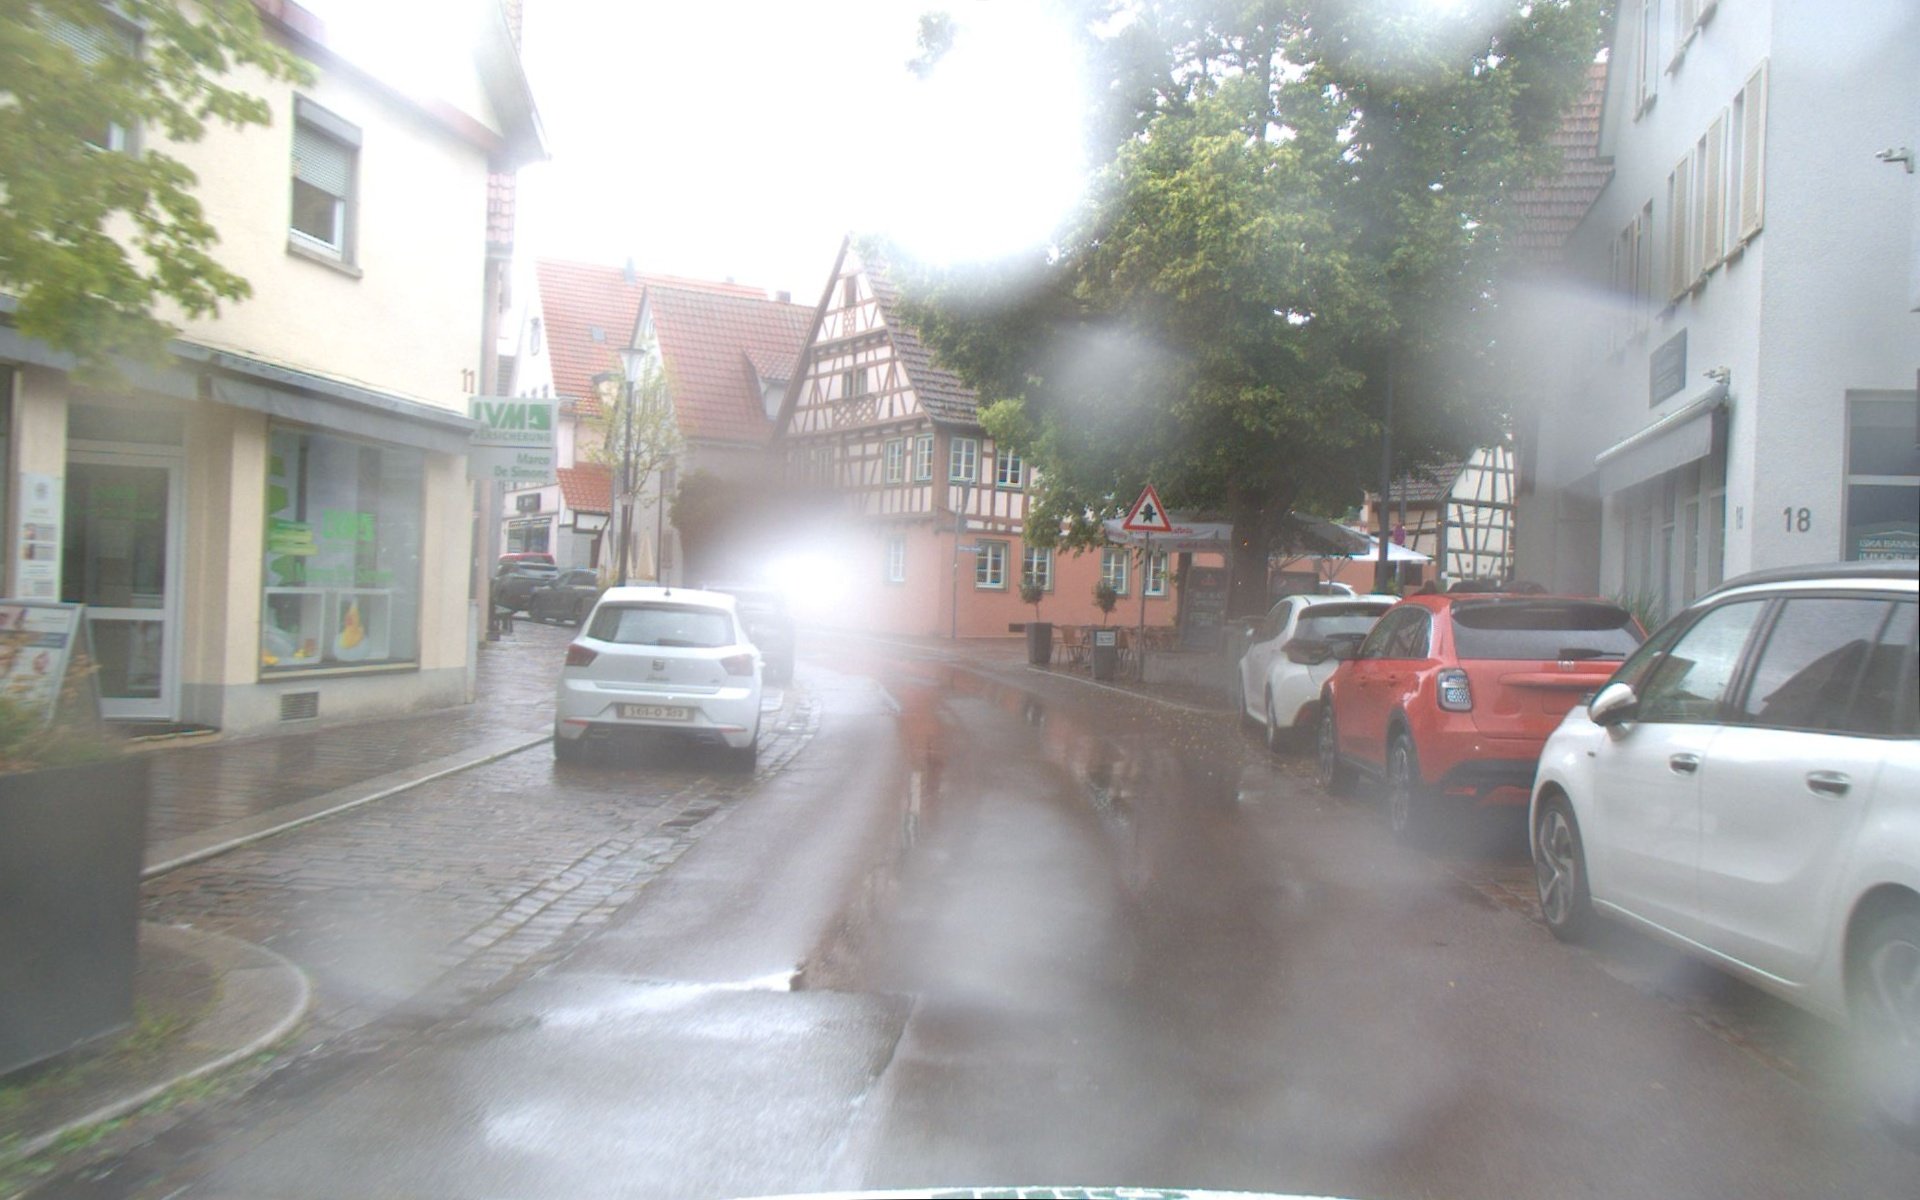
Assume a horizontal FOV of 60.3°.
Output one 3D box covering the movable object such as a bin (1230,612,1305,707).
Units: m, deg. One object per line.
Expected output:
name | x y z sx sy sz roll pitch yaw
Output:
movable object such as a bin | 3.756 0.725 20.233 0.712 1.112 0.609 3 -2 -8

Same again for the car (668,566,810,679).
car | -3.593 0.358 26.286 1.842 1.567 4.386 3 -1 -12

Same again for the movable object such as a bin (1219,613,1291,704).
movable object such as a bin | 3.719 0.739 20.911 0.712 1.102 0.604 3 -2 -8

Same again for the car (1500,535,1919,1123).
car | 3.558 0.651 5.956 1.751 1.627 4.440 2 0 0

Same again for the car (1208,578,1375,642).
car | 9.548 0.297 47.522 4.556 1.661 1.979 1 3 -32

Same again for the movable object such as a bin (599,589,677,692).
movable object such as a bin | -3.823 0.481 19.672 0.686 1.141 0.719 5 -1 0

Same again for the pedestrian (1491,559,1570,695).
pedestrian | 7.627 0.362 22.144 0.866 1.743 0.890 2 -2 13

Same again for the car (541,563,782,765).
car | -2.582 0.469 15.075 1.814 1.477 4.067 3 1 -7

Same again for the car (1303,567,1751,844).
car | 3.640 0.646 11.398 1.751 1.494 3.949 3 -1 1

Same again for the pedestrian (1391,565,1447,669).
pedestrian | 7.852 0.290 28.297 0.891 1.728 0.862 0 -1 17

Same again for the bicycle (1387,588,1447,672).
bicycle | 7.813 0.490 28.206 0.905 1.374 2.217 0 0 17

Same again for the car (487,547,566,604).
car | -15.775 -0.917 60.044 1.872 1.842 3.966 4 0 -27

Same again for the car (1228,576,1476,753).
car | 3.946 0.589 17.266 1.750 1.582 3.951 2 0 2
